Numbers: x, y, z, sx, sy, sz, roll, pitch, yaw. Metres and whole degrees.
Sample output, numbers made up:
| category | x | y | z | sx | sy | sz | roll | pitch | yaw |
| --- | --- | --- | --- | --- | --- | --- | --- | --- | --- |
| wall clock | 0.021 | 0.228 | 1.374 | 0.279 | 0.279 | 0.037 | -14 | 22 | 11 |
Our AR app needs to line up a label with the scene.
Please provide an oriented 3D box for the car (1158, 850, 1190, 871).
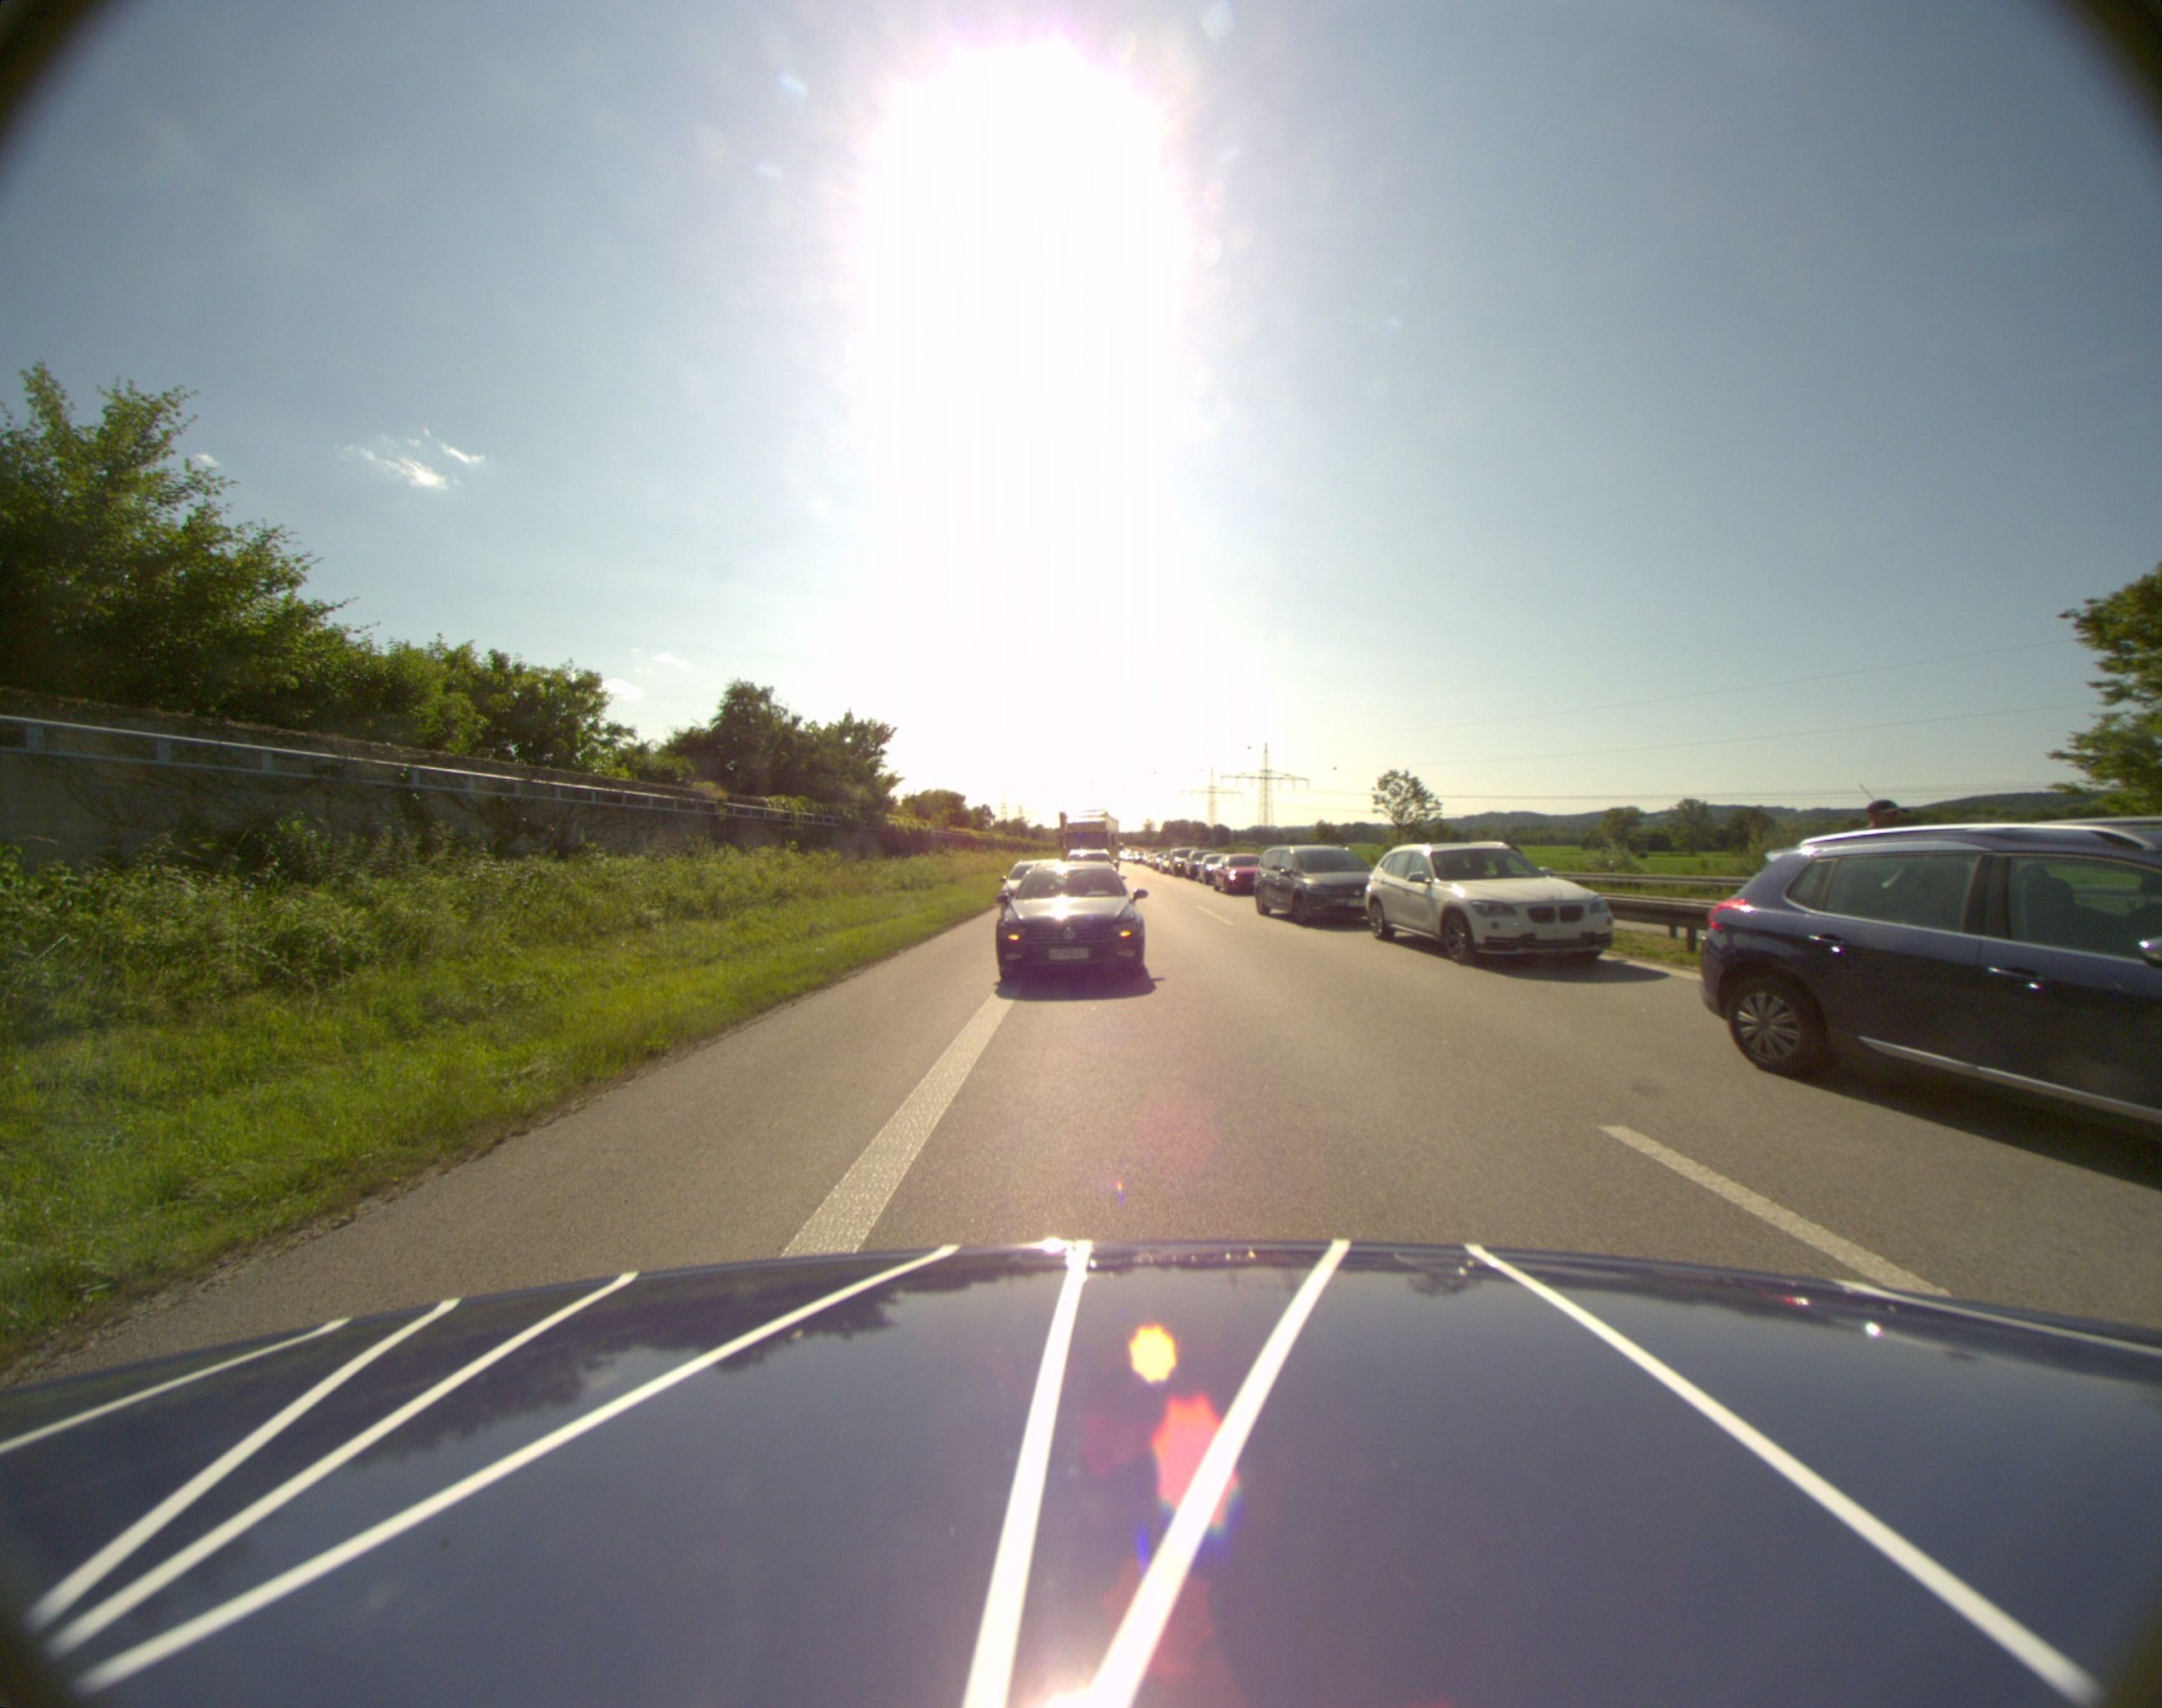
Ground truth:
| category | x | y | z | sx | sy | sz | roll | pitch | yaw |
| --- | --- | --- | --- | --- | --- | --- | --- | --- | --- |
| car | 6.931 | 0.477 | 57.003 | 1.998 | 1.522 | 4.000 | -1 | 0 | 1 |

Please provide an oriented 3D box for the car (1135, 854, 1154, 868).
| category | x | y | z | sx | sy | sz | roll | pitch | yaw |
| --- | --- | --- | --- | --- | --- | --- | --- | --- | --- |
| car | 7.185 | 0.788 | 86.396 | 1.819 | 1.450 | 4.117 | -1 | 0 | 1 |

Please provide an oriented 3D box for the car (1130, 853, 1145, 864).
| category | x | y | z | sx | sy | sz | roll | pitch | yaw |
| --- | --- | --- | --- | --- | --- | --- | --- | --- | --- |
| car | 7.799 | 0.591 | 105.508 | 1.819 | 1.450 | 4.117 | -2 | 0 | 1 |

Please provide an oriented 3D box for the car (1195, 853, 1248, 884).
| category | x | y | z | sx | sy | sz | roll | pitch | yaw |
| --- | --- | --- | --- | --- | --- | --- | --- | --- | --- |
| car | 6.744 | 0.679 | 36.870 | 1.895 | 1.390 | 4.000 | -1 | 0 | 1 |

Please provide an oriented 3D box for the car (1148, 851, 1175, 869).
| category | x | y | z | sx | sy | sz | roll | pitch | yaw |
| --- | --- | --- | --- | --- | --- | --- | --- | --- | --- |
| car | 7.014 | 0.529 | 66.298 | 1.998 | 1.522 | 4.000 | -1 | 0 | 1 |

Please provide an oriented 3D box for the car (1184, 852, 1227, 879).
| category | x | y | z | sx | sy | sz | roll | pitch | yaw |
| --- | --- | --- | --- | --- | --- | --- | --- | --- | --- |
| car | 6.989 | 0.623 | 42.956 | 1.894 | 1.446 | 4.000 | -1 | 0 | 2 |

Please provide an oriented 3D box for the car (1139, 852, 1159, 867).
| category | x | y | z | sx | sy | sz | roll | pitch | yaw |
| --- | --- | --- | --- | --- | --- | --- | --- | --- | --- |
| car | 7.107 | 0.589 | 79.802 | 1.819 | 1.450 | 4.118 | -2 | 0 | 3 |

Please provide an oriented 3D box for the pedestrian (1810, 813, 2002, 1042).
| category | x | y | z | sx | sy | sz | roll | pitch | yaw |
| --- | --- | --- | --- | --- | --- | --- | --- | --- | --- |
| pedestrian | 6.666 | 0.563 | 6.190 | 0.672 | 1.740 | 0.814 | -1 | 1 | 1 |

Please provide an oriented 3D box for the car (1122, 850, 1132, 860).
| category | x | y | z | sx | sy | sz | roll | pitch | yaw |
| --- | --- | --- | --- | --- | --- | --- | --- | --- | --- |
| car | 8.528 | 0.099 | 140.858 | 1.813 | 1.783 | 3.773 | -1 | 0 | 1 |

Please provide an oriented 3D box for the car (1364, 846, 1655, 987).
| category | x | y | z | sx | sy | sz | roll | pitch | yaw |
| --- | --- | --- | --- | --- | --- | --- | --- | --- | --- |
| car | 5.632 | 0.703 | 10.698 | 1.832 | 1.564 | 4.164 | -1 | 0 | 2 |

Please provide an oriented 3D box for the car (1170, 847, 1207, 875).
| category | x | y | z | sx | sy | sz | roll | pitch | yaw |
| --- | --- | --- | --- | --- | --- | --- | --- | --- | --- |
| car | 6.987 | 0.436 | 49.827 | 1.902 | 1.777 | 4.200 | -1 | 0 | 1 |

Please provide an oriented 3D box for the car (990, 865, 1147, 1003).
| category | x | y | z | sx | sy | sz | roll | pitch | yaw |
| --- | --- | --- | --- | --- | --- | --- | --- | --- | --- |
| car | -0.081 | 0.935 | 10.691 | 1.716 | 1.405 | 4.326 | -2 | 0 | 2 |

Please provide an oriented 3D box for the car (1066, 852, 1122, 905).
| category | x | y | z | sx | sy | sz | roll | pitch | yaw |
| --- | --- | --- | --- | --- | --- | --- | --- | --- | --- |
| car | 0.478 | 0.779 | 26.436 | 1.716 | 1.614 | 4.326 | -2 | 0 | 2 |

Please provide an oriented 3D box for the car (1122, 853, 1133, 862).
| category | x | y | z | sx | sy | sz | roll | pitch | yaw |
| --- | --- | --- | --- | --- | --- | --- | --- | --- | --- |
| car | 8.093 | 0.595 | 131.529 | 1.819 | 1.450 | 4.118 | -1 | 0 | 3 |

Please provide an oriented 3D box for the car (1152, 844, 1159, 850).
| category | x | y | z | sx | sy | sz | roll | pitch | yaw |
| --- | --- | --- | --- | --- | --- | --- | --- | --- | --- |
| car | 22.130 | -2.048 | 225.743 | 1.863 | 1.622 | 4.393 | -2 | 1 | 3 |

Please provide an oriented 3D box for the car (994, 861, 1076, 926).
| category | x | y | z | sx | sy | sz | roll | pitch | yaw |
| --- | --- | --- | --- | --- | --- | --- | --- | --- | --- |
| car | -1.101 | 0.956 | 20.009 | 1.716 | 1.417 | 4.326 | -2 | 0 | 2 |

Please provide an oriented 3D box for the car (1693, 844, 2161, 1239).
| category | x | y | z | sx | sy | sz | roll | pitch | yaw |
| --- | --- | --- | --- | --- | --- | --- | --- | --- | --- |
| car | 5.148 | 0.745 | 3.291 | 1.692 | 1.526 | 3.948 | -3 | 0 | -2 |

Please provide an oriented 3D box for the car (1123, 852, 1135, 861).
| category | x | y | z | sx | sy | sz | roll | pitch | yaw |
| --- | --- | --- | --- | --- | --- | --- | --- | --- | --- |
| car | 7.954 | 0.436 | 125.884 | 1.819 | 1.450 | 4.118 | -2 | 0 | 3 |

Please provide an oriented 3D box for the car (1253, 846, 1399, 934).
| category | x | y | z | sx | sy | sz | roll | pitch | yaw |
| --- | --- | --- | --- | --- | --- | --- | --- | --- | --- |
| car | 5.097 | 0.670 | 16.400 | 1.819 | 1.606 | 4.117 | -2 | 0 | 1 |

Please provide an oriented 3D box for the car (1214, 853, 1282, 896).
| category | x | y | z | sx | sy | sz | roll | pitch | yaw |
| --- | --- | --- | --- | --- | --- | --- | --- | --- | --- |
| car | 6.098 | 0.713 | 28.178 | 1.819 | 1.450 | 4.118 | -1 | 0 | 3 |

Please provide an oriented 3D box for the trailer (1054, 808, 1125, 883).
| category | x | y | z | sx | sy | sz | roll | pitch | yaw |
| --- | --- | --- | --- | --- | --- | --- | --- | --- | --- |
| trailer | 0.873 | -0.562 | 49.371 | 3.386 | 4.089 | 13.956 | -2 | 1 | 5 |

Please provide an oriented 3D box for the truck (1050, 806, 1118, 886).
| category | x | y | z | sx | sy | sz | roll | pitch | yaw |
| --- | --- | --- | --- | --- | --- | --- | --- | --- | --- |
| truck | 0.330 | -0.473 | 43.285 | 3.332 | 4.089 | 6.970 | -2 | 1 | 3 |

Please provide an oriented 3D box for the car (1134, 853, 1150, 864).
| category | x | y | z | sx | sy | sz | roll | pitch | yaw |
| --- | --- | --- | --- | --- | --- | --- | --- | --- | --- |
| car | 7.778 | 0.548 | 97.079 | 1.819 | 1.450 | 4.118 | -1 | 0 | 2 |
